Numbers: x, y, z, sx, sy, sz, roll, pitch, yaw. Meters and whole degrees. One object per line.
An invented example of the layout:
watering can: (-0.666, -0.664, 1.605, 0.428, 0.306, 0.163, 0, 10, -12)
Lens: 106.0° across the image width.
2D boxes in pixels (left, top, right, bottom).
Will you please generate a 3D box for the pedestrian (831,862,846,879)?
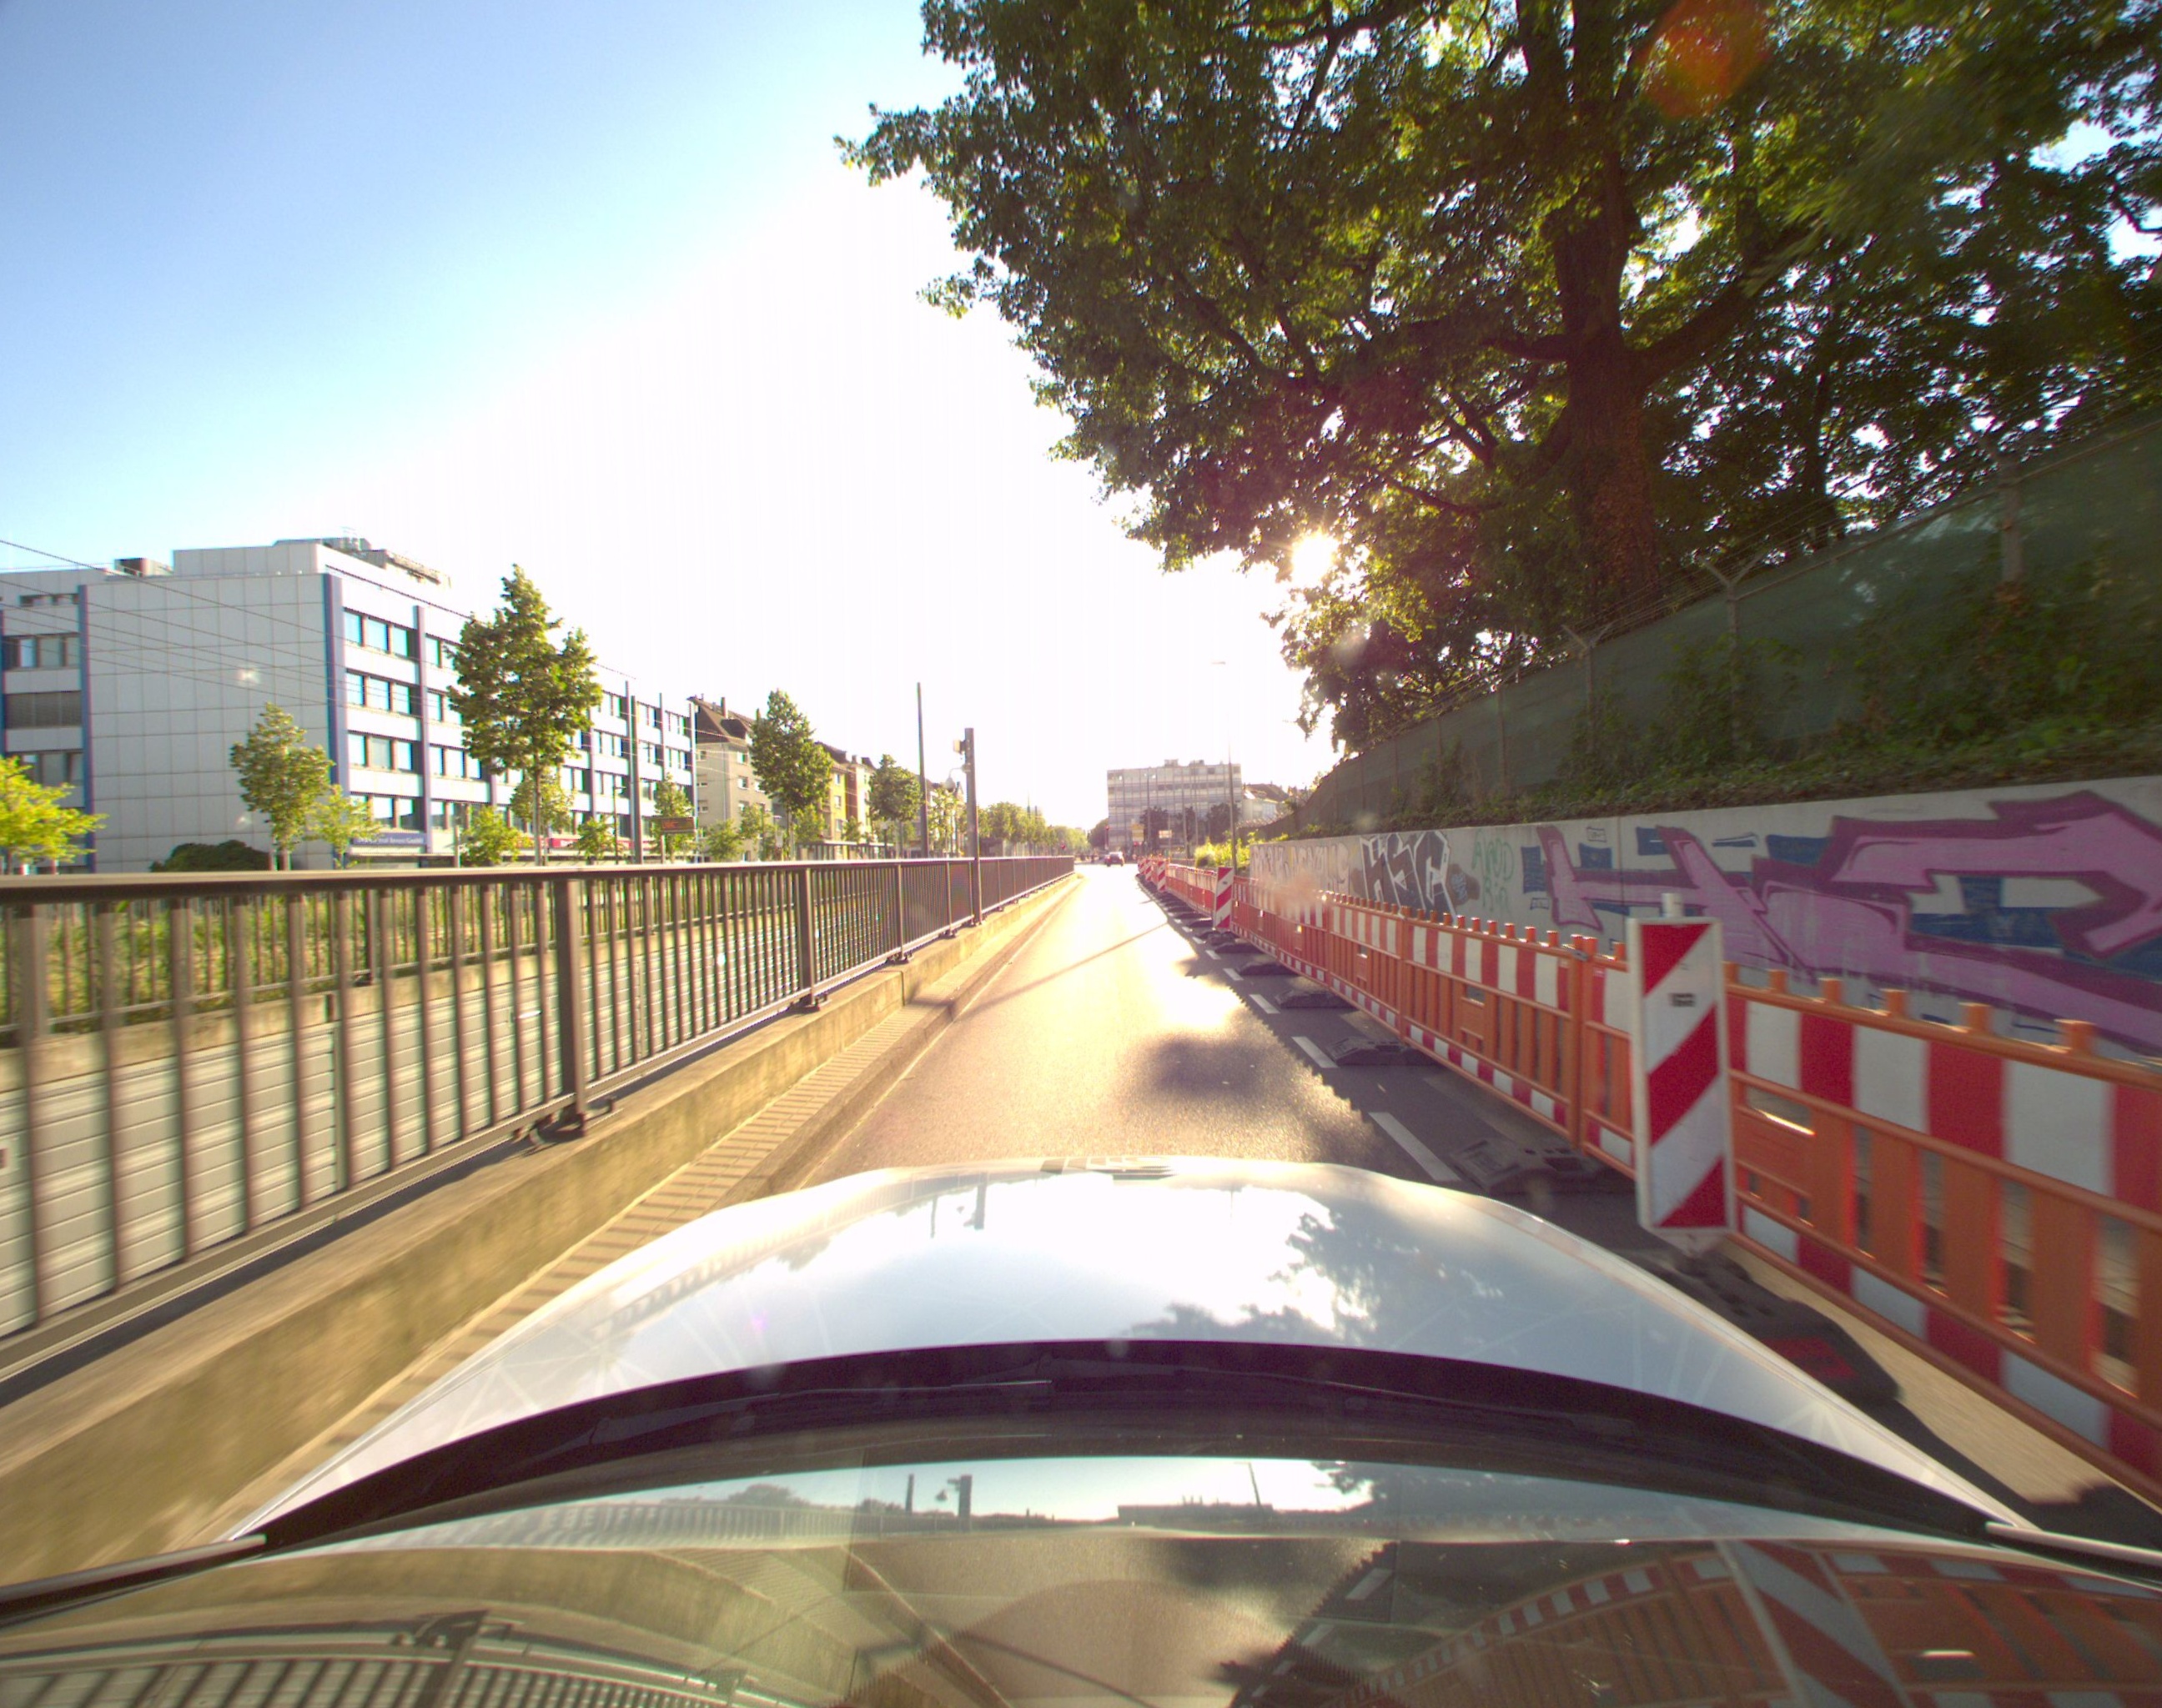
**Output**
pedestrian: (-18.675, 1.267, 62.723, 0.930, 1.197, 0.764, -2, 0, 1)

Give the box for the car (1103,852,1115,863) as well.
car: (4.106, 0.512, 120.190, 1.737, 1.426, 4.002, -2, 0, 2)

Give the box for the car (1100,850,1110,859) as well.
car: (6.621, 0.214, 224.319, 2.477, 2.392, 5.935, -4, -1, 1)

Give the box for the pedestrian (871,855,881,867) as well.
pedestrian: (-18.209, 0.601, 72.400, 0.625, 1.047, 0.794, -2, 0, 1)

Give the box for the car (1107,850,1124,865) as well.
car: (4.245, 0.416, 101.348, 1.986, 1.693, 4.002, -1, 1, 2)

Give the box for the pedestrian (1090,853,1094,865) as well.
pedestrian: (1.808, 0.833, 134.722, 0.610, 2.013, 0.511, -2, 0, 5)

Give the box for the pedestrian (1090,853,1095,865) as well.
pedestrian: (1.887, 0.827, 134.154, 0.610, 2.013, 0.511, -2, 0, 5)

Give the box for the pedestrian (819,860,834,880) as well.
pedestrian: (-18.794, 1.193, 60.152, 0.835, 1.410, 0.804, -2, 0, 1)
